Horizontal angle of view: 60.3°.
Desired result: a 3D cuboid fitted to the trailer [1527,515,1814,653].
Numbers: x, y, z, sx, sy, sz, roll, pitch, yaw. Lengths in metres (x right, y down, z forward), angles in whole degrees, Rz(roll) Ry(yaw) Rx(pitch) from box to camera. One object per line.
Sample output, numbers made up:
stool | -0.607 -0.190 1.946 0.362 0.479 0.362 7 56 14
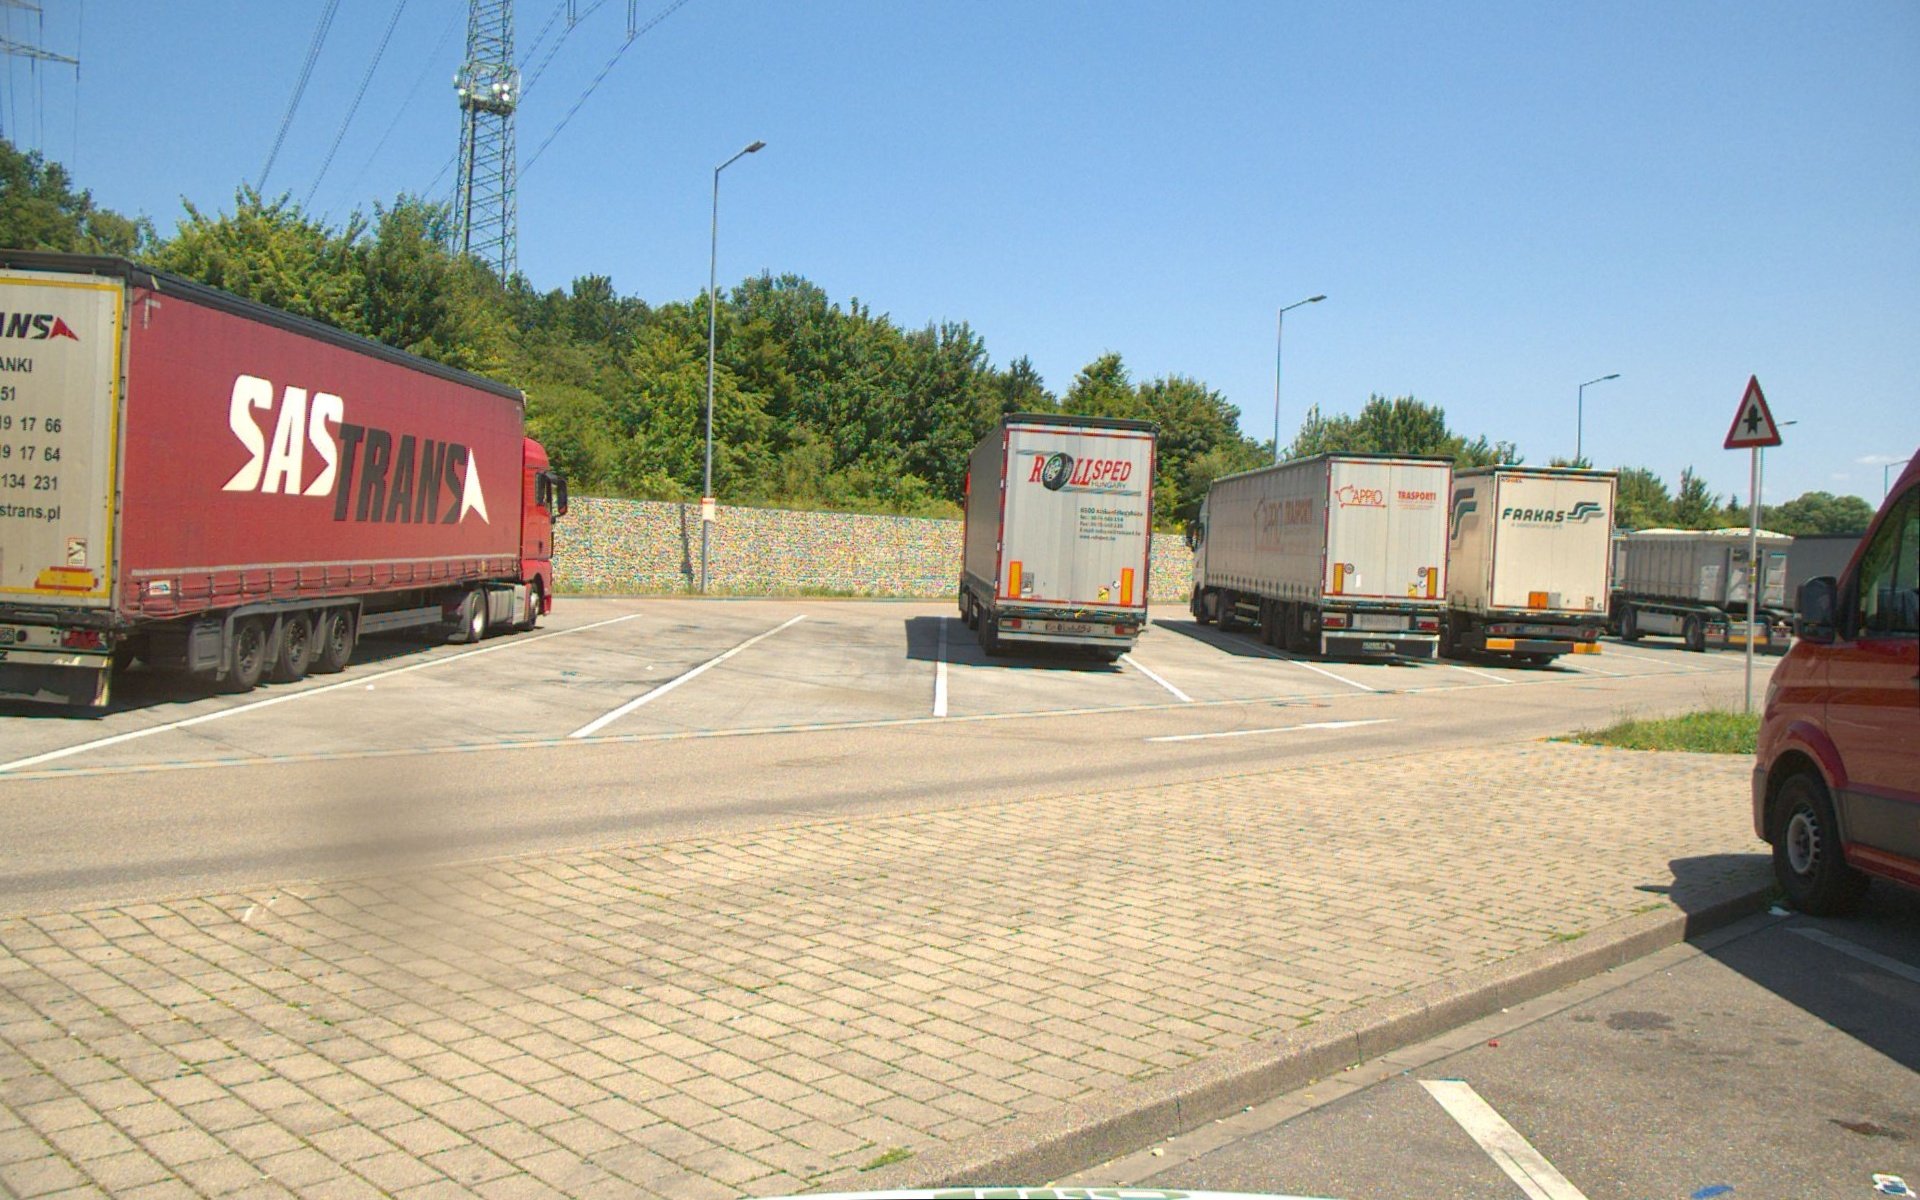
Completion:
trailer | 21.840 -0.691 52.241 2.800 3.662 13.762 2 2 -1

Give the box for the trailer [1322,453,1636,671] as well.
trailer | 11.771 -0.997 39.564 2.800 4.180 13.762 2 2 -1

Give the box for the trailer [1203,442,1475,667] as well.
trailer | 8.251 -1.108 38.500 2.800 4.180 13.762 2 2 -1

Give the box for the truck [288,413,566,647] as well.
truck | -8.799 -1.165 28.068 2.755 3.421 5.974 2 2 -1

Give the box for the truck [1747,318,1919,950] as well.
truck | 4.990 0.157 5.517 1.969 2.697 6.457 1 0 3

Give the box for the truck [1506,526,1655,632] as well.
truck | 21.743 -0.806 58.336 2.808 3.421 5.974 2 2 -1

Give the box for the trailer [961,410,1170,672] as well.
trailer | 1.677 -1.180 33.148 2.800 4.040 13.761 2 2 -2

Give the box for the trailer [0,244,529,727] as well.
trailer | -8.691 -1.272 21.252 2.764 4.141 13.763 2 2 -1

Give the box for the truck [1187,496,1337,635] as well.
truck | 8.130 -0.992 45.262 2.808 3.421 5.974 2 2 -1

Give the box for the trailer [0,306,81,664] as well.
trailer | -12.489 -1.259 15.796 2.651 4.173 10.389 2 2 -1

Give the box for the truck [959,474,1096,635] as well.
truck | 1.477 -1.097 39.345 2.808 3.421 5.974 2 2 -1

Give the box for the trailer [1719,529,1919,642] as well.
trailer | 34.795 -0.723 65.438 2.800 3.972 13.762 2 2 -1
